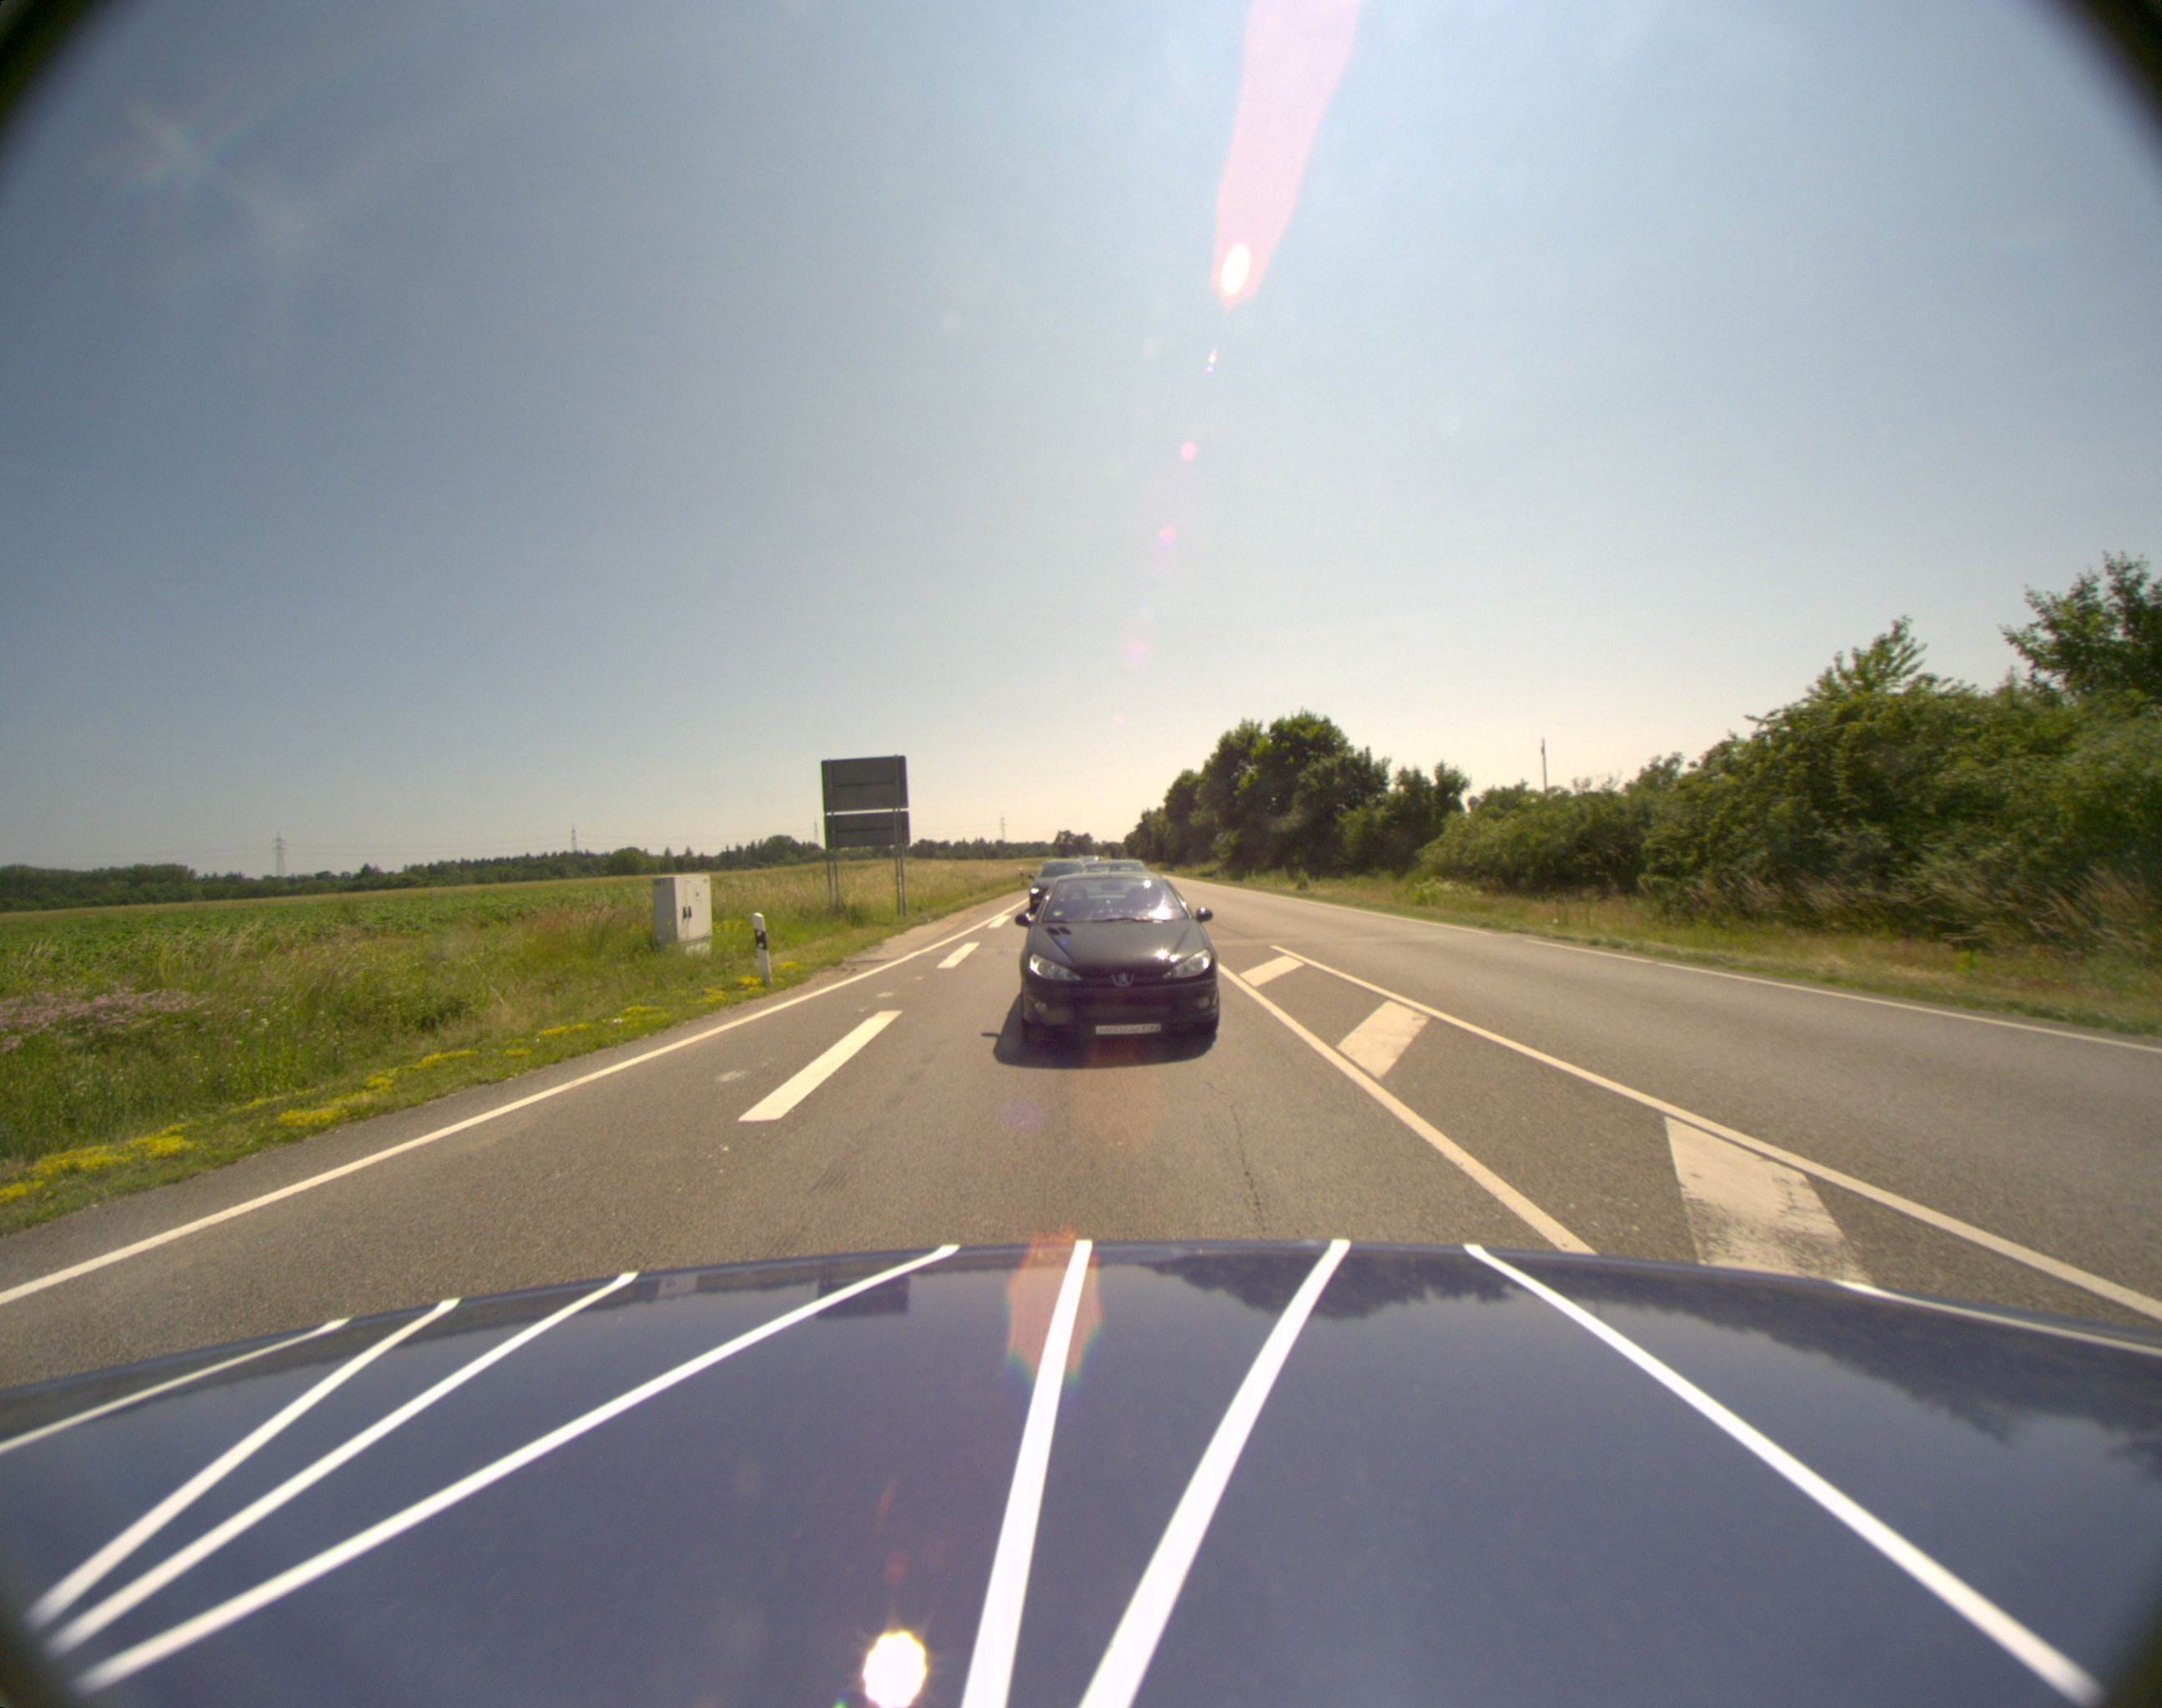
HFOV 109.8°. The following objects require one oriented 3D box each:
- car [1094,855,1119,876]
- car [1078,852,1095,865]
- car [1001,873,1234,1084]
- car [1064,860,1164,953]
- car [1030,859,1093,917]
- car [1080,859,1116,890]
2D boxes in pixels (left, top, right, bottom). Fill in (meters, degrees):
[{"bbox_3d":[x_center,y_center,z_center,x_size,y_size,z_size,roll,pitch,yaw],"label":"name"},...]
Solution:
[{"bbox_3d":[1.712,0.762,51.316,1.588,1.294,3.631,-2,0,1],"label":"car"},{"bbox_3d":[0.562,0.423,77.801,1.588,1.294,3.631,-2,0,1],"label":"car"},{"bbox_3d":[0.294,0.962,7.451,1.665,1.389,3.731,-2,0,1],"label":"car"},{"bbox_3d":[0.625,0.917,14.904,1.665,1.477,3.732,-2,0,2],"label":"car"},{"bbox_3d":[-0.485,0.940,22.652,1.665,1.449,4.173,-2,0,1],"label":"car"},{"bbox_3d":[0.806,0.944,36.078,1.588,1.294,3.631,-2,0,1],"label":"car"}]
